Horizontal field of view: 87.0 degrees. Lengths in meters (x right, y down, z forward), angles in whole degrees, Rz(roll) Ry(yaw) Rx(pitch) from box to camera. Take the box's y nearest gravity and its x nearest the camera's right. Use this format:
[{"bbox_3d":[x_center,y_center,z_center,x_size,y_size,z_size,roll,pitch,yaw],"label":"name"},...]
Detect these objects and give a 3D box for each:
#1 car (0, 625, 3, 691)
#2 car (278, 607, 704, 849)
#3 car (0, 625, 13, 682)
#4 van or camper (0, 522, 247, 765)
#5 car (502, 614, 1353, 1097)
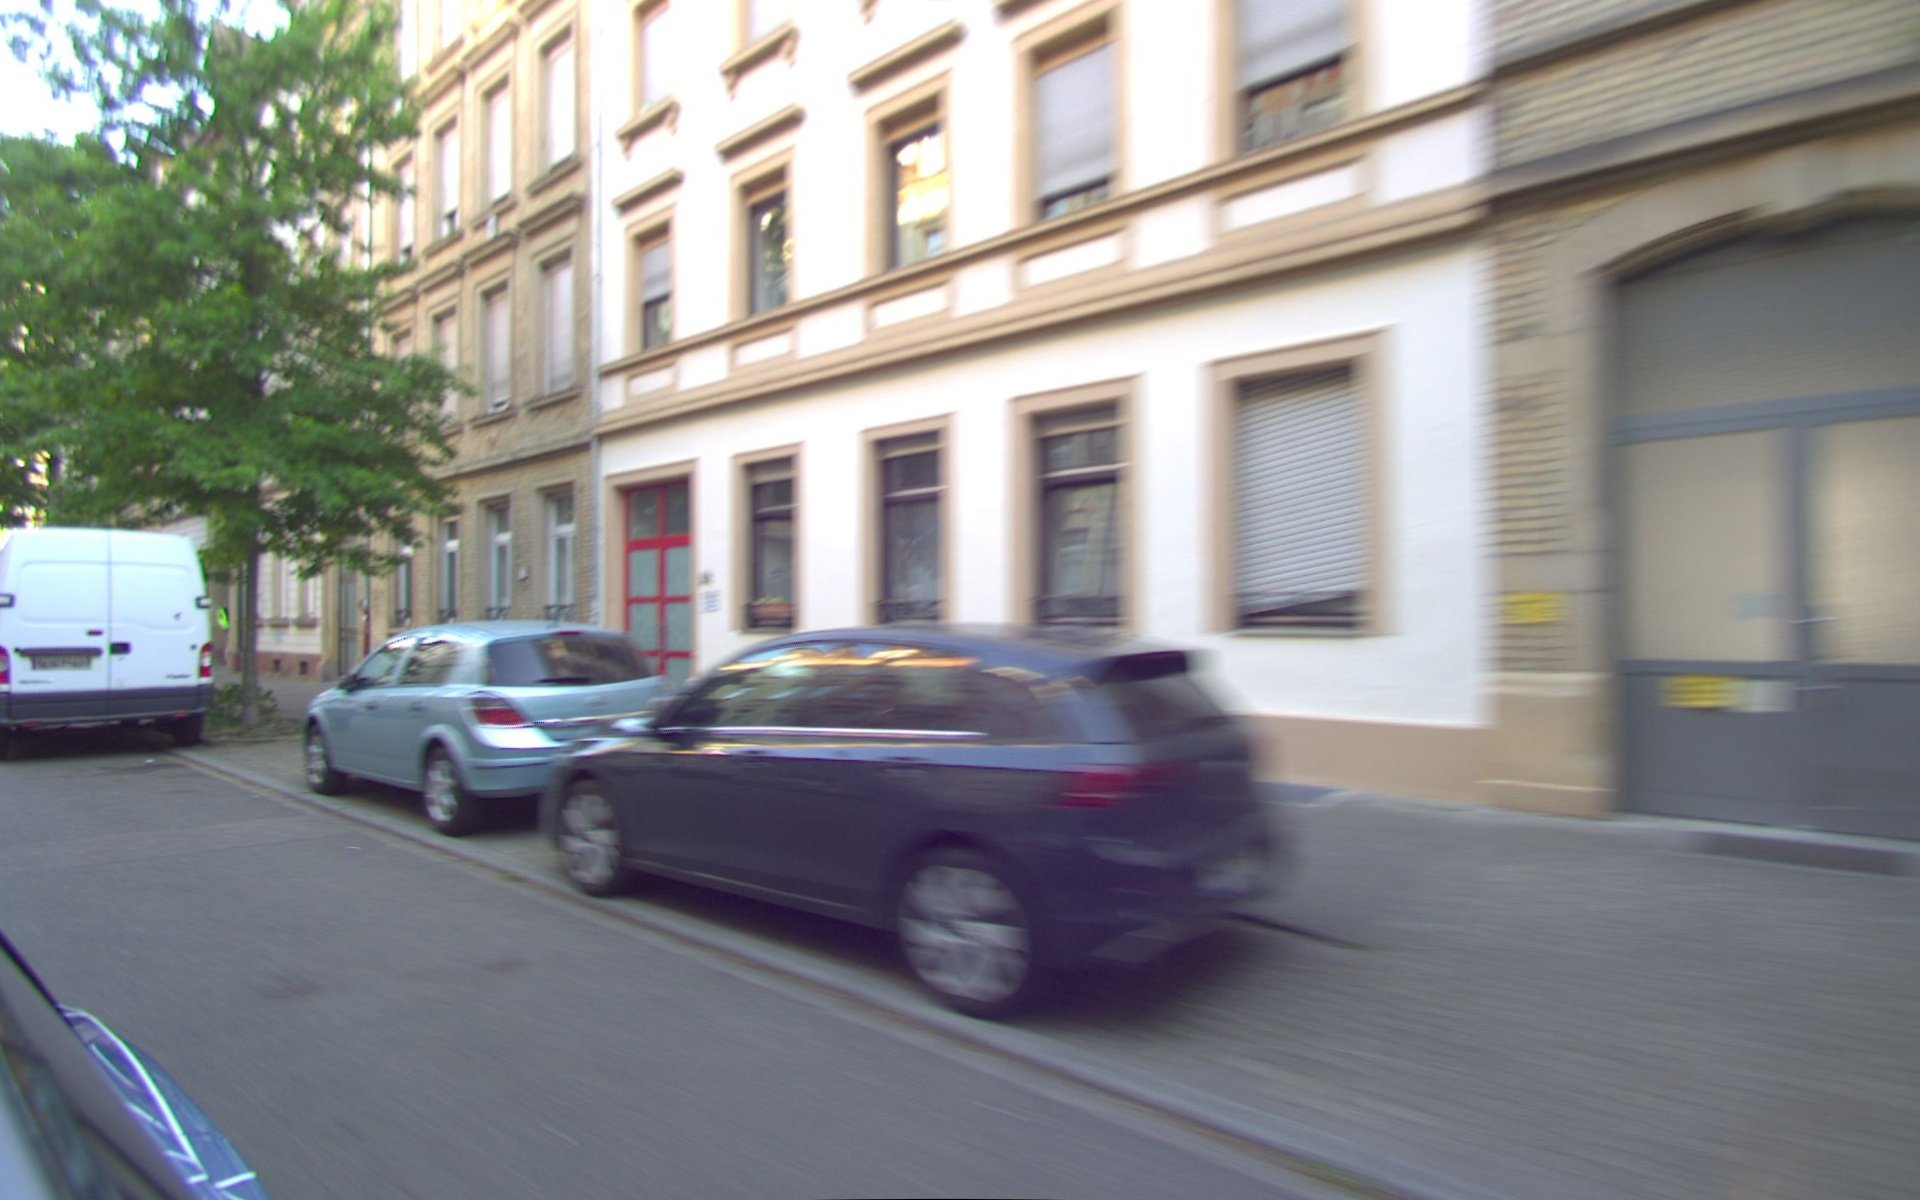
[{"bbox_3d":[-23.434,1.307,23.079,4.277,1.468,1.645,-1,-2,37],"label":"car"},{"bbox_3d":[-4.040,0.847,8.384,4.111,1.521,1.666,-1,-1,41],"label":"car"},{"bbox_3d":[-27.569,1.473,27.973,3.756,1.506,1.733,-1,-1,42],"label":"car"},{"bbox_3d":[-11.166,0.511,12.811,5.657,2.449,2.196,-2,-2,41],"label":"van or camper"},{"bbox_3d":[-0.458,0.826,5.151,4.255,1.473,1.749,-1,-1,40],"label":"car"}]
